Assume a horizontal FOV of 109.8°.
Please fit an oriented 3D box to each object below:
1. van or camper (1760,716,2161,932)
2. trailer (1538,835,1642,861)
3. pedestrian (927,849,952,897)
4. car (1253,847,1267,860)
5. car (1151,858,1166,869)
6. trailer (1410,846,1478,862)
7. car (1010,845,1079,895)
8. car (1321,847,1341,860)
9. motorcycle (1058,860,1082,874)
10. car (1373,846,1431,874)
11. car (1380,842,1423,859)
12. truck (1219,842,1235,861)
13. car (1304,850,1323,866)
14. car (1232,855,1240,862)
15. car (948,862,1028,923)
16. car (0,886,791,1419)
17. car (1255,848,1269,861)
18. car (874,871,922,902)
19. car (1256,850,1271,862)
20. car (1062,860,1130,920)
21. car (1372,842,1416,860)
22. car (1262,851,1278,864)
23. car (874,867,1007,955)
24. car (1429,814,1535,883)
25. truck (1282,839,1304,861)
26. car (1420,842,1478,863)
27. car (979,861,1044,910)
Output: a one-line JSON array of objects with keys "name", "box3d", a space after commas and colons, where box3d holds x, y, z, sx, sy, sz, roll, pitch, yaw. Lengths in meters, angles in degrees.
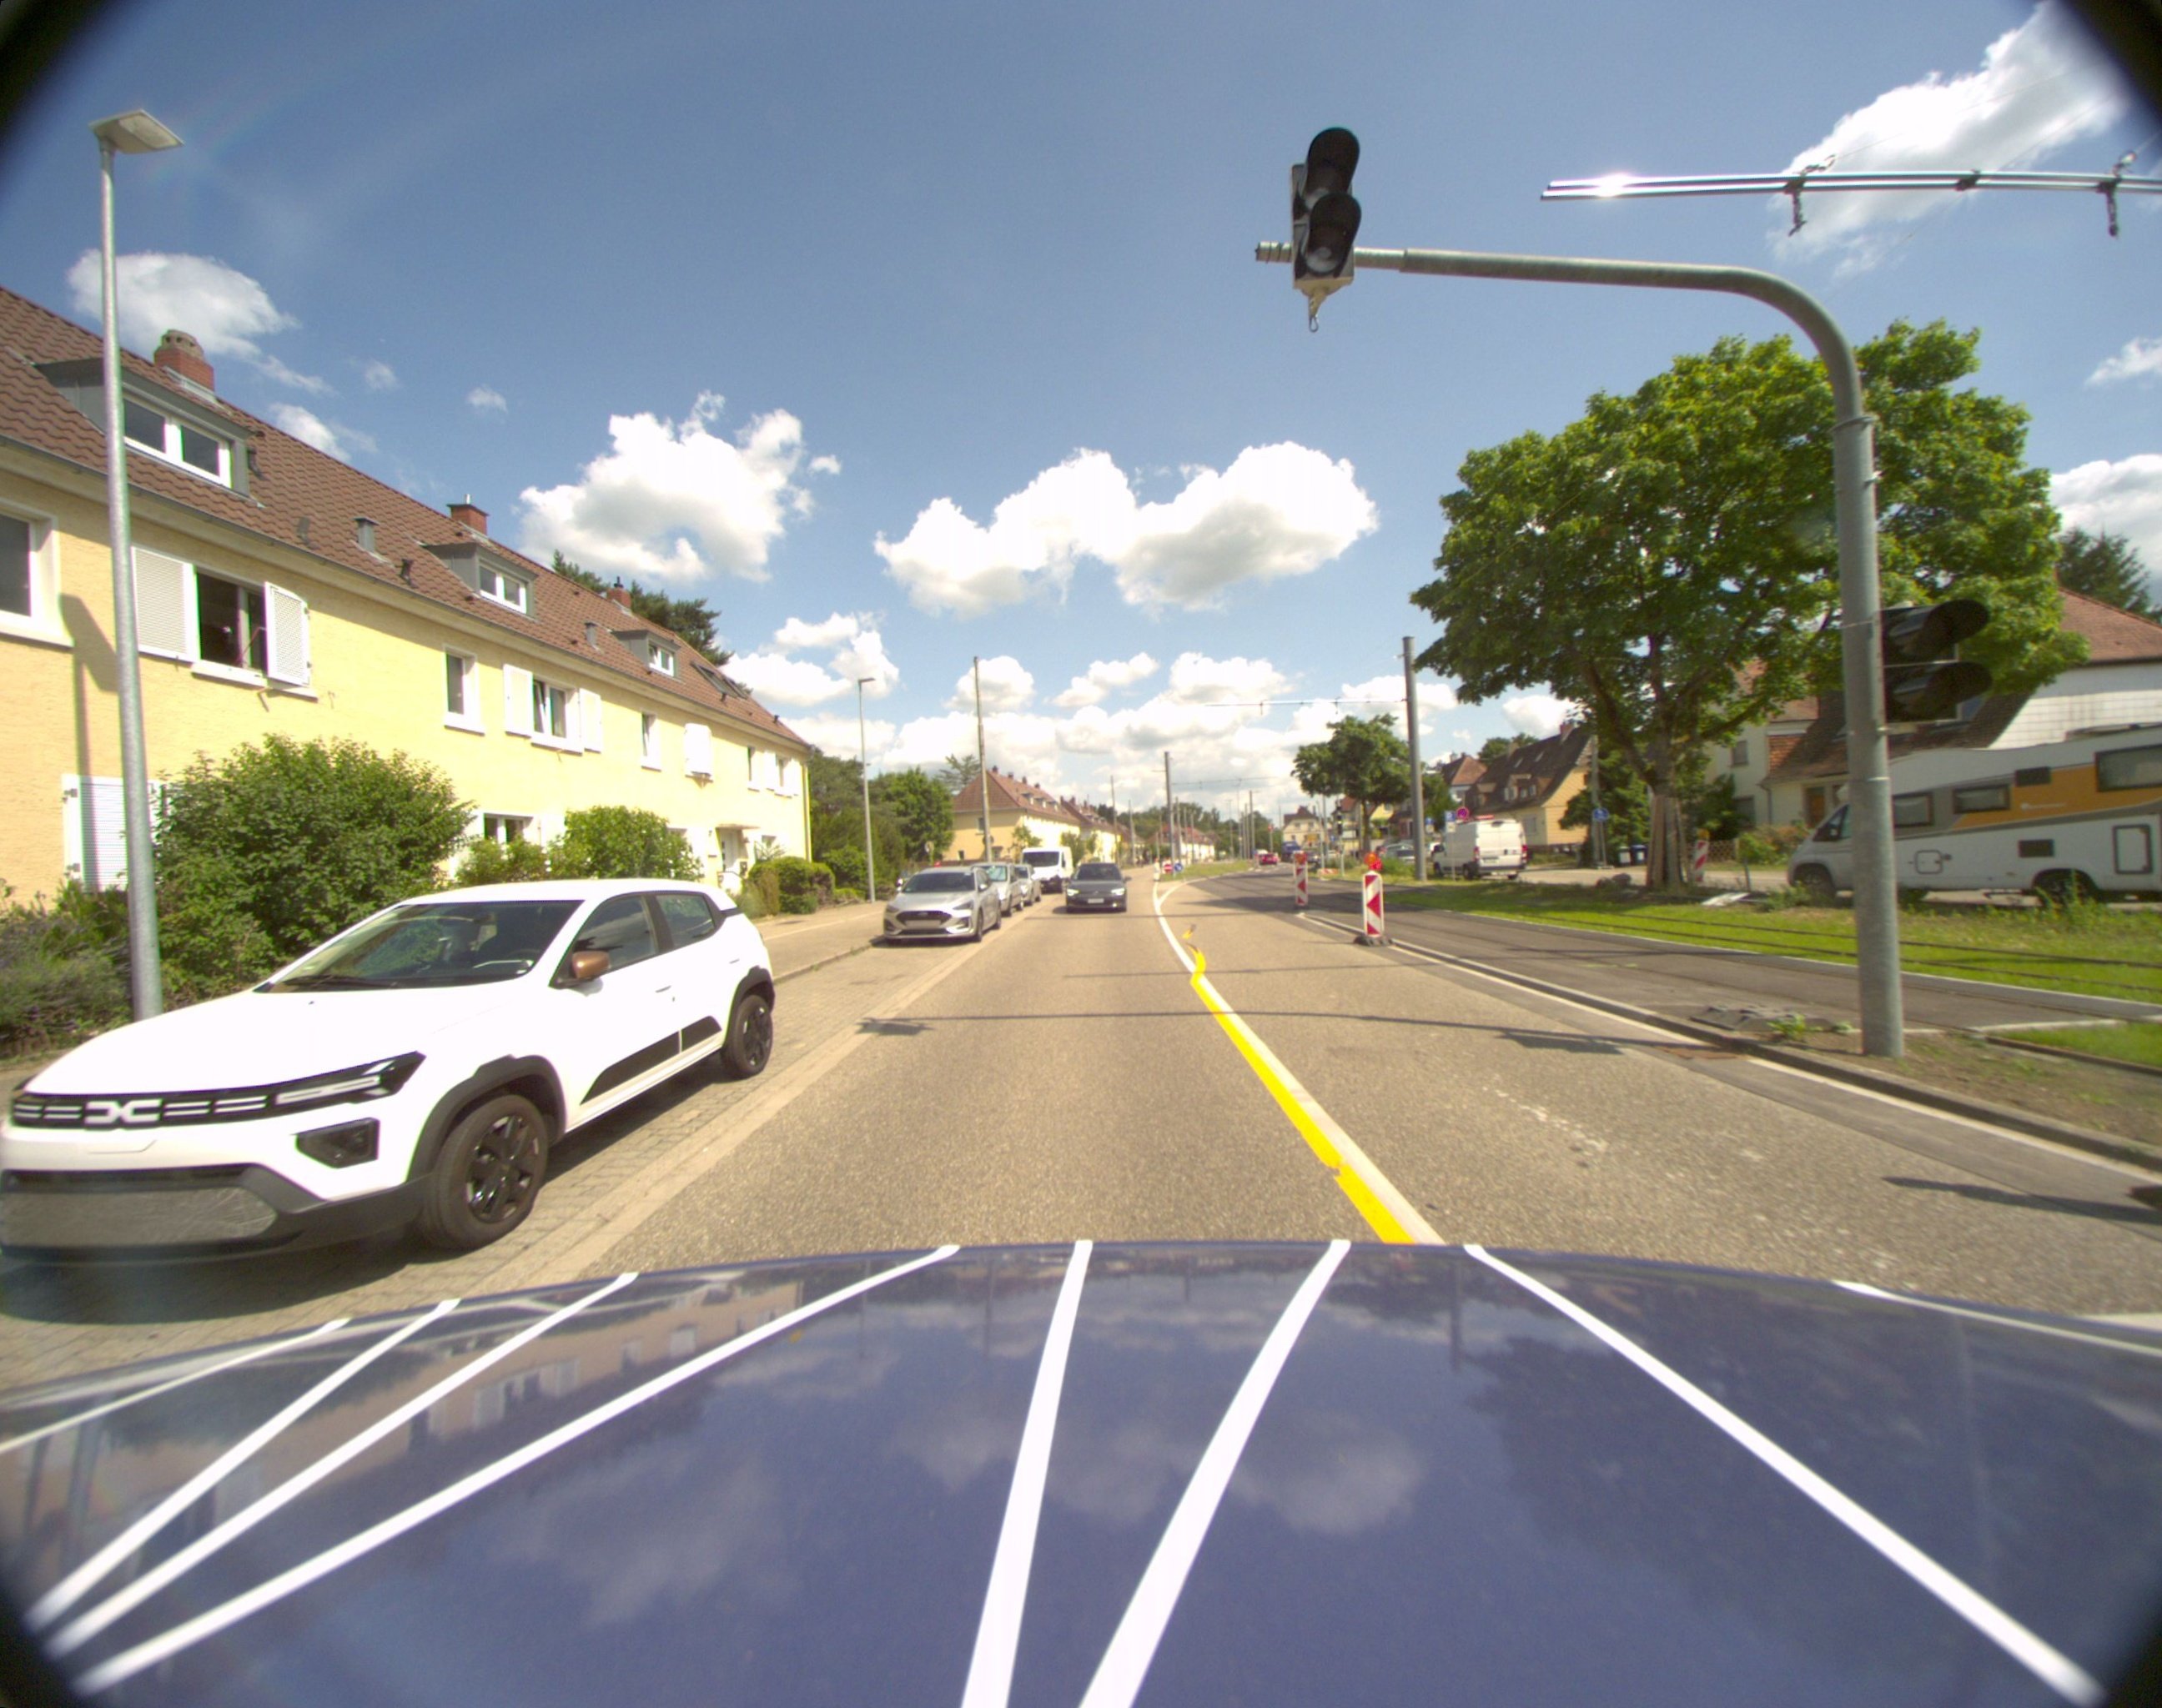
[{"name": "van or camper", "box3d": [16.035, -0.451, 12.967, 2.381, 2.952, 7.297, -3, 0, 1]}, {"name": "trailer", "box3d": [33.317, -0.386, 49.913, 5.265, 1.385, 2.025, -3, 0, 9]}, {"name": "pedestrian", "box3d": [-6.115, 0.807, 32.846, 0.774, 2.002, 0.762, -3, 0, 4]}, {"name": "car", "box3d": [29.055, -0.083, 123.294, 1.921, 1.953, 4.545, -3, 0, 10]}, {"name": "car", "box3d": [11.408, 1.364, 111.394, 1.878, 1.543, 4.989, -3, 0, 9]}, {"name": "trailer", "box3d": [31.662, 0.003, 66.334, 4.931, 1.118, 1.961, -3, 0, 7]}, {"name": "car", "box3d": [-1.640, 0.717, 37.004, 2.281, 2.170, 6.371, -2, 0, 6]}, {"name": "car", "box3d": [31.877, -0.081, 96.949, 1.728, 1.553, 4.545, -3, 0, 11]}, {"name": "motorcycle", "box3d": [-1.086, 1.264, 74.849, 2.231, 1.190, 0.855, -3, 0, 11]}, {"name": "car", "box3d": [18.438, 0.319, 43.835, 1.696, 1.456, 4.757, -3, 0, 6]}, {"name": "car", "box3d": [34.057, -0.353, 80.871, 3.886, 1.546, 1.683, -3, 0, 7]}, {"name": "truck", "box3d": [43.367, -0.751, 225.433, 3.473, 5.153, 14.233, -3, 0, 15]}, {"name": "car", "box3d": [25.317, 0.418, 82.833, 1.728, 1.518, 4.776, -3, 0, 16]}, {"name": "car", "box3d": [49.340, 1.495, 241.686, 2.058, 1.996, 4.954, -3, 0, 14]}, {"name": "car", "box3d": [-2.624, 1.050, 22.315, 1.632, 1.541, 3.810, -2, 0, 3]}, {"name": "car", "box3d": [-3.189, 1.017, 4.251, 1.531, 1.472, 3.810, -2, 0, 2]}, {"name": "car", "box3d": [27.551, 0.116, 115.525, 1.728, 1.843, 4.545, -3, 0, 10]}, {"name": "car", "box3d": [-10.750, 1.899, 44.894, 1.632, 1.538, 3.810, -3, 0, 4]}, {"name": "car", "box3d": [26.198, 0.279, 109.012, 1.728, 1.553, 4.545, -3, 0, 10]}, {"name": "car", "box3d": [0.546, 0.989, 22.619, 1.742, 1.513, 4.703, -1, 0, 4]}, {"name": "car", "box3d": [34.481, -0.342, 83.783, 3.995, 1.835, 1.803, -3, 0, 7]}, {"name": "car", "box3d": [23.583, 0.387, 94.906, 1.728, 1.553, 4.545, -3, 0, 11]}, {"name": "car", "box3d": [-2.724, 1.055, 15.775, 1.754, 1.489, 4.386, -2, 0, 2]}, {"name": "car", "box3d": [17.110, -0.207, 32.774, 2.158, 2.653, 4.917, -3, 0, 4]}, {"name": "truck", "box3d": [32.864, -0.647, 118.108, 2.840, 3.135, 7.941, -3, 0, 13]}, {"name": "car", "box3d": [30.971, -0.112, 63.977, 3.959, 1.535, 1.761, -3, 0, 2]}, {"name": "car", "box3d": [-2.382, 1.059, 27.000, 1.712, 1.495, 4.256, -2, 0, 2]}]
